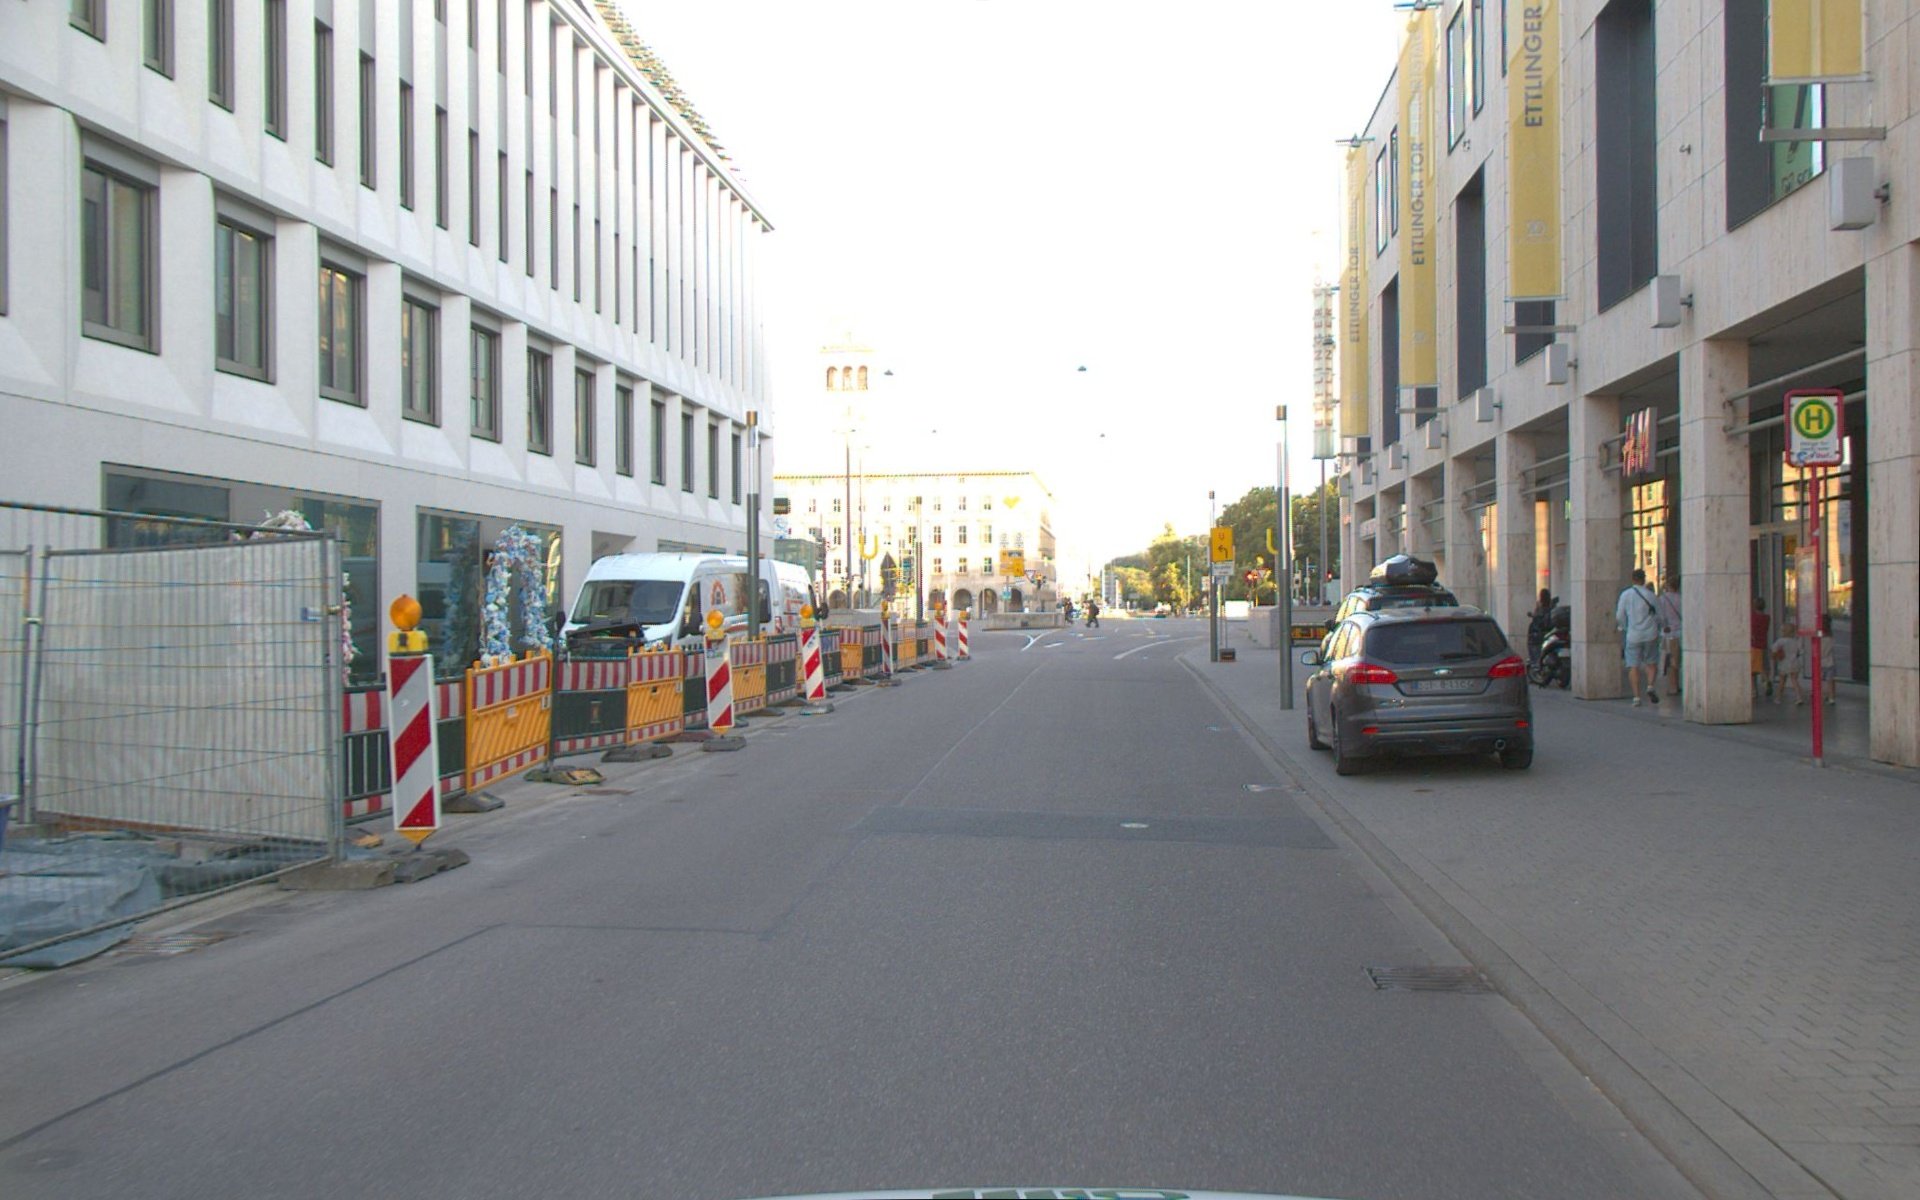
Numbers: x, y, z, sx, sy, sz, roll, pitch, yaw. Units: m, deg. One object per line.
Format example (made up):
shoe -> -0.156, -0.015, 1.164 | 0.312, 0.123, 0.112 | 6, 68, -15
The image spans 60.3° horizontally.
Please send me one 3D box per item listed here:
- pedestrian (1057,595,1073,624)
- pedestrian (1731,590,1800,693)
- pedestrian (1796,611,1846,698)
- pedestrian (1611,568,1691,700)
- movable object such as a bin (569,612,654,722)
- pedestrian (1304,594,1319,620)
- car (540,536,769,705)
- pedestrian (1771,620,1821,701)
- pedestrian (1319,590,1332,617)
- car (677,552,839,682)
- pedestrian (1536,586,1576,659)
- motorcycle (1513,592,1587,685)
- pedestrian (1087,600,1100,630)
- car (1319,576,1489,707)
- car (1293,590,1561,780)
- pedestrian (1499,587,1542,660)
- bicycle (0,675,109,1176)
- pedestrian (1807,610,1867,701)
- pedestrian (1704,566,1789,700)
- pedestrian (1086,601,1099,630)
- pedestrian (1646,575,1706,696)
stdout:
pedestrian -> 6.744, 0.613, 106.023 | 0.723, 1.808, 0.864 | -3, -1, 19
pedestrian -> 11.117, 0.565, 22.847 | 0.620, 1.369, 0.776 | -1, 1, 5
pedestrian -> 11.281, 0.708, 21.668 | 0.411, 1.116, 0.526 | -1, 1, 5
pedestrian -> 9.199, 0.438, 22.039 | 0.748, 1.710, 0.877 | -1, 1, 5
movable object such as a bin -> -4.926, 0.927, 23.469 | 1.023, 1.492, 1.392 | 0, 0, -6
pedestrian -> 24.659, 0.505, 116.072 | 0.842, 1.808, 0.741 | -3, -1, 7
car -> -4.897, 0.316, 27.607 | 2.127, 2.513, 6.003 | 0, 0, 6
pedestrian -> 10.736, 0.776, 21.250 | 0.411, 1.003, 0.526 | -1, 1, 5
pedestrian -> 25.524, 0.229, 115.610 | 0.740, 1.808, 0.741 | -3, -1, 7
car -> -4.139, 0.331, 35.027 | 2.127, 2.513, 6.003 | 0, 0, 6
pedestrian -> 12.901, 0.482, 35.812 | 0.620, 1.569, 0.775 | 0, 0, 5
motorcycle -> 9.501, 0.602, 26.700 | 0.678, 1.441, 2.137 | -1, 0, 8
pedestrian -> 8.287, 0.943, 102.500 | 0.723, 1.808, 0.864 | -3, 0, 4
car -> 6.492, 0.576, 24.602 | 1.731, 1.666, 4.060 | -4, -1, 6
car -> 4.402, 0.741, 16.220 | 1.757, 1.516, 4.195 | -4, -1, 6
pedestrian -> 12.144, 0.506, 35.845 | 0.709, 1.569, 0.729 | 0, 0, 5
bicycle -> -2.839, 0.831, 3.542 | 0.779, 1.238, 2.234 | -1, 0, 3
pedestrian -> 11.152, 0.693, 21.031 | 0.476, 1.116, 0.602 | -1, 1, 5
pedestrian -> 10.366, 0.419, 21.827 | 0.748, 1.710, 0.877 | -1, 1, 5
pedestrian -> 8.301, 0.961, 103.561 | 0.723, 1.808, 0.863 | 0, 0, -3
pedestrian -> 10.414, 0.502, 24.071 | 0.578, 1.728, 0.696 | -1, 0, 4
